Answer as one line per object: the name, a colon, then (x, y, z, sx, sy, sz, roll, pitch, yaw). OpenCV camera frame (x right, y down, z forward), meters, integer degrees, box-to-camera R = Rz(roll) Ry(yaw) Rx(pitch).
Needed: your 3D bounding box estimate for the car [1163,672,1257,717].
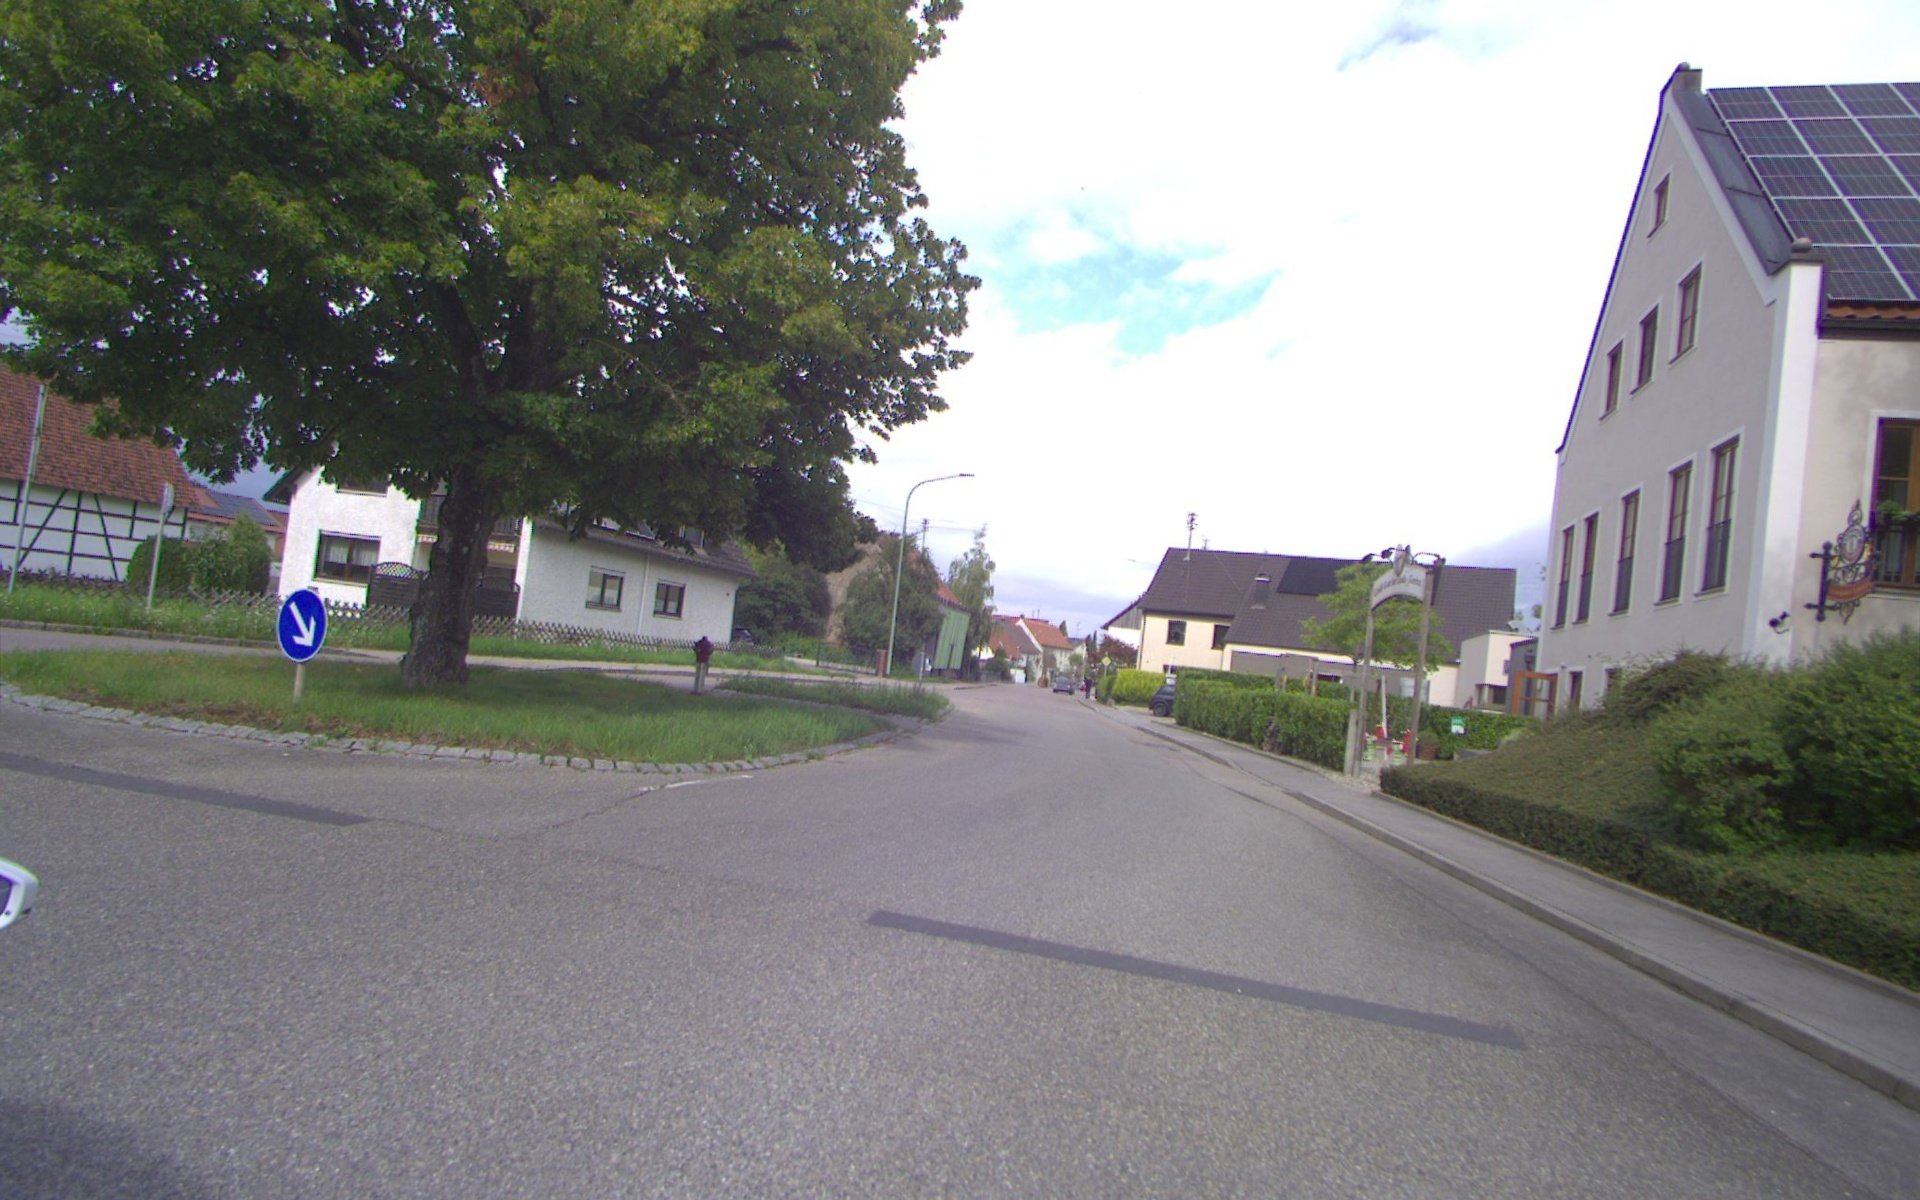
car: (11.578, 4.366, 46.624, 3.842, 1.719, 1.699, 3, -2, 30)

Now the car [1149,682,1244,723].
car: (10.425, 4.495, 44.370, 3.834, 1.419, 1.703, 4, -2, 20)

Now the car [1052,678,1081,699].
car: (9.881, 8.218, 93.226, 1.698, 1.624, 4.005, 6, -3, 18)

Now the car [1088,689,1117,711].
car: (12.070, 8.442, 85.011, 1.698, 1.624, 4.005, 6, -3, 18)
